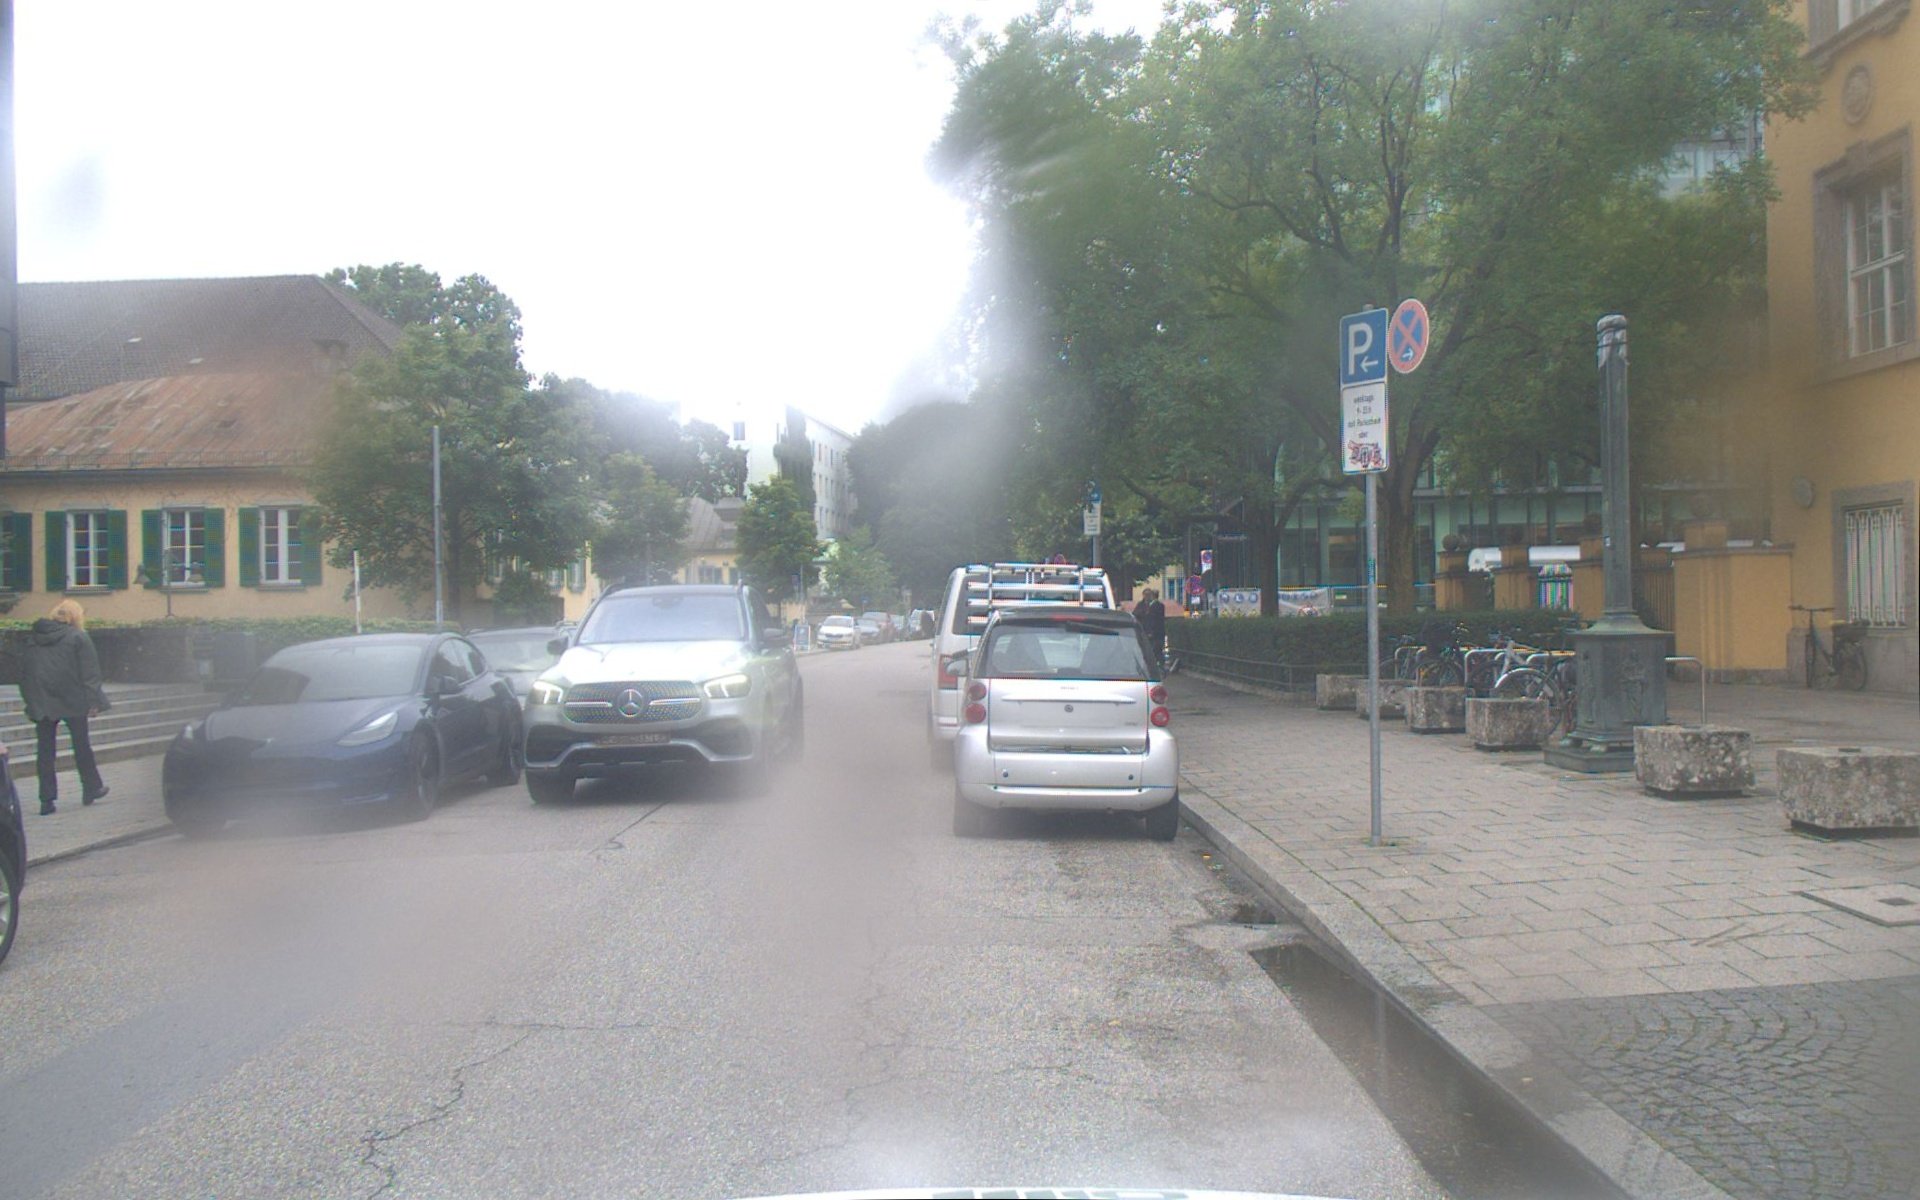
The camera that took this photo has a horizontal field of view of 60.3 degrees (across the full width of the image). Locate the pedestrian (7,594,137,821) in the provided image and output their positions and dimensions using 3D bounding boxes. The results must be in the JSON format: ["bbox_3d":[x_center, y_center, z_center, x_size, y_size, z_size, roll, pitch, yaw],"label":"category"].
[{"bbox_3d":[-7.266,0.850,13.576,0.741,1.780,0.948,-1,-1,-16],"label":"pedestrian"}]

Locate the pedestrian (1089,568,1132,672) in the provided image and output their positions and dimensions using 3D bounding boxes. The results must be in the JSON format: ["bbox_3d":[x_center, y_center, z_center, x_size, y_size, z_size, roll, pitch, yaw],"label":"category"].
[{"bbox_3d":[3.219,0.432,35.422,0.727,2.172,1.055,-2,-1,-1],"label":"pedestrian"}]

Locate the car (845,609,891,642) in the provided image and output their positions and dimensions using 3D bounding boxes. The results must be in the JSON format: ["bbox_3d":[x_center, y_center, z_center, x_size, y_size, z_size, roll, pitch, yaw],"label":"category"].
[{"bbox_3d":[-4.867,1.348,87.771,1.952,1.677,4.656,-1,0,2],"label":"car"}]

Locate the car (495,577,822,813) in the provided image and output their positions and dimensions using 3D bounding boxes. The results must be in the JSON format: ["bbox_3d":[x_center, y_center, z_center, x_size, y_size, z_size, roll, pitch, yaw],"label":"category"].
[{"bbox_3d":[-2.478,0.726,14.859,1.983,1.719,4.677,-2,0,1],"label":"car"}]

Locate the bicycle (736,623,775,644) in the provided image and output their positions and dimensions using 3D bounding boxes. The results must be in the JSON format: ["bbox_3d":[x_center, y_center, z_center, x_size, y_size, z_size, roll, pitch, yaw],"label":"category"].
[{"bbox_3d":[-9.266,1.514,74.908,1.593,0.942,0.646,-1,-2,-25],"label":"bicycle"}]

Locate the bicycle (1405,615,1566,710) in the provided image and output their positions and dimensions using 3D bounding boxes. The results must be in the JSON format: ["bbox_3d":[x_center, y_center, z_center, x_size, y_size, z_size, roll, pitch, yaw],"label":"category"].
[{"bbox_3d":[6.783,0.797,21.384,1.892,1.133,0.471,-2,-1,1],"label":"bicycle"}]

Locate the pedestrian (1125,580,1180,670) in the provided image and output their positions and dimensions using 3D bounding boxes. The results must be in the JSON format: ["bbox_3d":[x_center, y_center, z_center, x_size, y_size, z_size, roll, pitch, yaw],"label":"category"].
[{"bbox_3d":[4.221,0.539,36.285,0.729,1.941,1.052,-2,-1,35],"label":"pedestrian"}]

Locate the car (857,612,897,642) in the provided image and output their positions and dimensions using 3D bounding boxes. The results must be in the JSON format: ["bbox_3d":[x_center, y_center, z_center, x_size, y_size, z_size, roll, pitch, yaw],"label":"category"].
[{"bbox_3d":[-4.634,1.518,92.696,1.952,1.631,4.000,-1,-1,1],"label":"car"}]

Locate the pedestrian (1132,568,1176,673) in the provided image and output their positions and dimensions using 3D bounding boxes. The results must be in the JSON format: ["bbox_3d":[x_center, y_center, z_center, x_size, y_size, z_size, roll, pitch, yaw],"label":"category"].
[{"bbox_3d":[4.113,0.429,35.073,0.727,2.172,1.055,-2,-1,-1],"label":"pedestrian"}]

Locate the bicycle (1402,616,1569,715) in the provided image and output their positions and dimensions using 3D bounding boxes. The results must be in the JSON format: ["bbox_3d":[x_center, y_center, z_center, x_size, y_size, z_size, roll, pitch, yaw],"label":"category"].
[{"bbox_3d":[6.528,0.806,20.590,1.892,1.133,0.471,-2,-1,1],"label":"bicycle"}]

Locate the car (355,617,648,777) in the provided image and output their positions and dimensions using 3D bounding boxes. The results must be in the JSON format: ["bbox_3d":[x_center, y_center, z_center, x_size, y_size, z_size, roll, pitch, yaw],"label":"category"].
[{"bbox_3d":[-5.125,1.013,19.246,1.953,1.517,4.883,-3,-1,0],"label":"car"}]

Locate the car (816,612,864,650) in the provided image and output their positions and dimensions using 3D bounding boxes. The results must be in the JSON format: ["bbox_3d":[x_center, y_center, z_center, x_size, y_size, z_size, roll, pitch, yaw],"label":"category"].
[{"bbox_3d":[-5.418,1.383,75.176,1.697,1.609,3.788,2,0,3],"label":"car"}]

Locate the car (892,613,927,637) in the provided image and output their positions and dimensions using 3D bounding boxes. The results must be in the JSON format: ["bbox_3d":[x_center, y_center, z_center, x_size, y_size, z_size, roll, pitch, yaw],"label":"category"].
[{"bbox_3d":[-3.341,1.630,110.714,1.952,1.512,4.002,-1,0,4],"label":"car"}]

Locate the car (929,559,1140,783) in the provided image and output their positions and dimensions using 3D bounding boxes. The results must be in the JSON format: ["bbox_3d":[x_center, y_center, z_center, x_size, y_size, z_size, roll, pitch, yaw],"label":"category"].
[{"bbox_3d":[0.623,0.659,17.504,1.808,1.967,5.271,2,0,-2],"label":"car"}]

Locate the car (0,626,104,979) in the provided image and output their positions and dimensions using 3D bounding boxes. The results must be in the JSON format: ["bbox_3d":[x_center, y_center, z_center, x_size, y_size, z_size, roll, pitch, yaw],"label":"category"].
[{"bbox_3d":[-4.962,0.903,5.689,1.704,1.486,4.237,-3,0,1],"label":"car"}]

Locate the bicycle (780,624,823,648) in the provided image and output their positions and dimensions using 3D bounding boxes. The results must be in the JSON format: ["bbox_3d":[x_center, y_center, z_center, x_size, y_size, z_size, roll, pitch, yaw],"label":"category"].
[{"bbox_3d":[-6.772,1.535,70.650,0.610,1.022,2.134,1,0,32],"label":"bicycle"}]

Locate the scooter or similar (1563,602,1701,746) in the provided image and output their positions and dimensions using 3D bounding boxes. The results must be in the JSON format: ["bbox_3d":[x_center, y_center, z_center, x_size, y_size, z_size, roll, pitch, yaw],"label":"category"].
[{"bbox_3d":[6.103,0.664,15.033,0.995,1.243,0.534,-3,-1,45],"label":"scooter or similar"}]

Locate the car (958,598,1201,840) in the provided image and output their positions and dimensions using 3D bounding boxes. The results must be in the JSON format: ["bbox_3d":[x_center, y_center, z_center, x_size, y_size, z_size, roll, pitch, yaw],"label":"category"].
[{"bbox_3d":[0.788,0.794,12.404,1.573,1.573,2.933,1,0,0],"label":"car"}]

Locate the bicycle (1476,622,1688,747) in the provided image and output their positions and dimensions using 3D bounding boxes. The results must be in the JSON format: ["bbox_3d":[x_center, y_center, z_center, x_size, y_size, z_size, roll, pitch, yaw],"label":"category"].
[{"bbox_3d":[6.130,0.822,16.323,1.893,1.133,0.471,-2,-1,-4],"label":"bicycle"}]

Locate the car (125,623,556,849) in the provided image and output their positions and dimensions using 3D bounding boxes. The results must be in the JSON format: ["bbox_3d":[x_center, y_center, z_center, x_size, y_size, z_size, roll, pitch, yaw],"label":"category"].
[{"bbox_3d":[-4.918,0.983,13.988,1.884,1.464,4.915,-3,-1,-2],"label":"car"}]

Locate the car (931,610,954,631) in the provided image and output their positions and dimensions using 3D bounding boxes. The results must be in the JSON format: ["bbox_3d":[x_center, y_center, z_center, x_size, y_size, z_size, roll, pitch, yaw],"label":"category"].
[{"bbox_3d":[-1.491,1.726,142.071,1.773,1.712,4.001,-1,0,2],"label":"car"}]

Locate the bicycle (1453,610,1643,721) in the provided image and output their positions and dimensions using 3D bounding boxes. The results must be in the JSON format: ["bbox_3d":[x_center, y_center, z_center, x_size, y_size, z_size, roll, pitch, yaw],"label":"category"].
[{"bbox_3d":[6.487,0.714,18.280,1.892,1.133,0.471,-2,-1,1],"label":"bicycle"}]

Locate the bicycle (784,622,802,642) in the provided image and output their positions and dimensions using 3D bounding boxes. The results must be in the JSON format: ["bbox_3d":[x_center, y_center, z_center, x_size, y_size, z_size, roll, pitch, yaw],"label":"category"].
[{"bbox_3d":[-8.755,1.672,86.866,0.608,1.022,1.619,-1,-2,5],"label":"bicycle"}]

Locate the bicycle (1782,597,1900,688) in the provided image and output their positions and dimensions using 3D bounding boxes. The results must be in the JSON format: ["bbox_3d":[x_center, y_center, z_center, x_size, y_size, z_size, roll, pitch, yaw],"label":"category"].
[{"bbox_3d":[12.060,0.562,22.694,0.531,1.174,1.901,-2,0,-2],"label":"bicycle"}]
